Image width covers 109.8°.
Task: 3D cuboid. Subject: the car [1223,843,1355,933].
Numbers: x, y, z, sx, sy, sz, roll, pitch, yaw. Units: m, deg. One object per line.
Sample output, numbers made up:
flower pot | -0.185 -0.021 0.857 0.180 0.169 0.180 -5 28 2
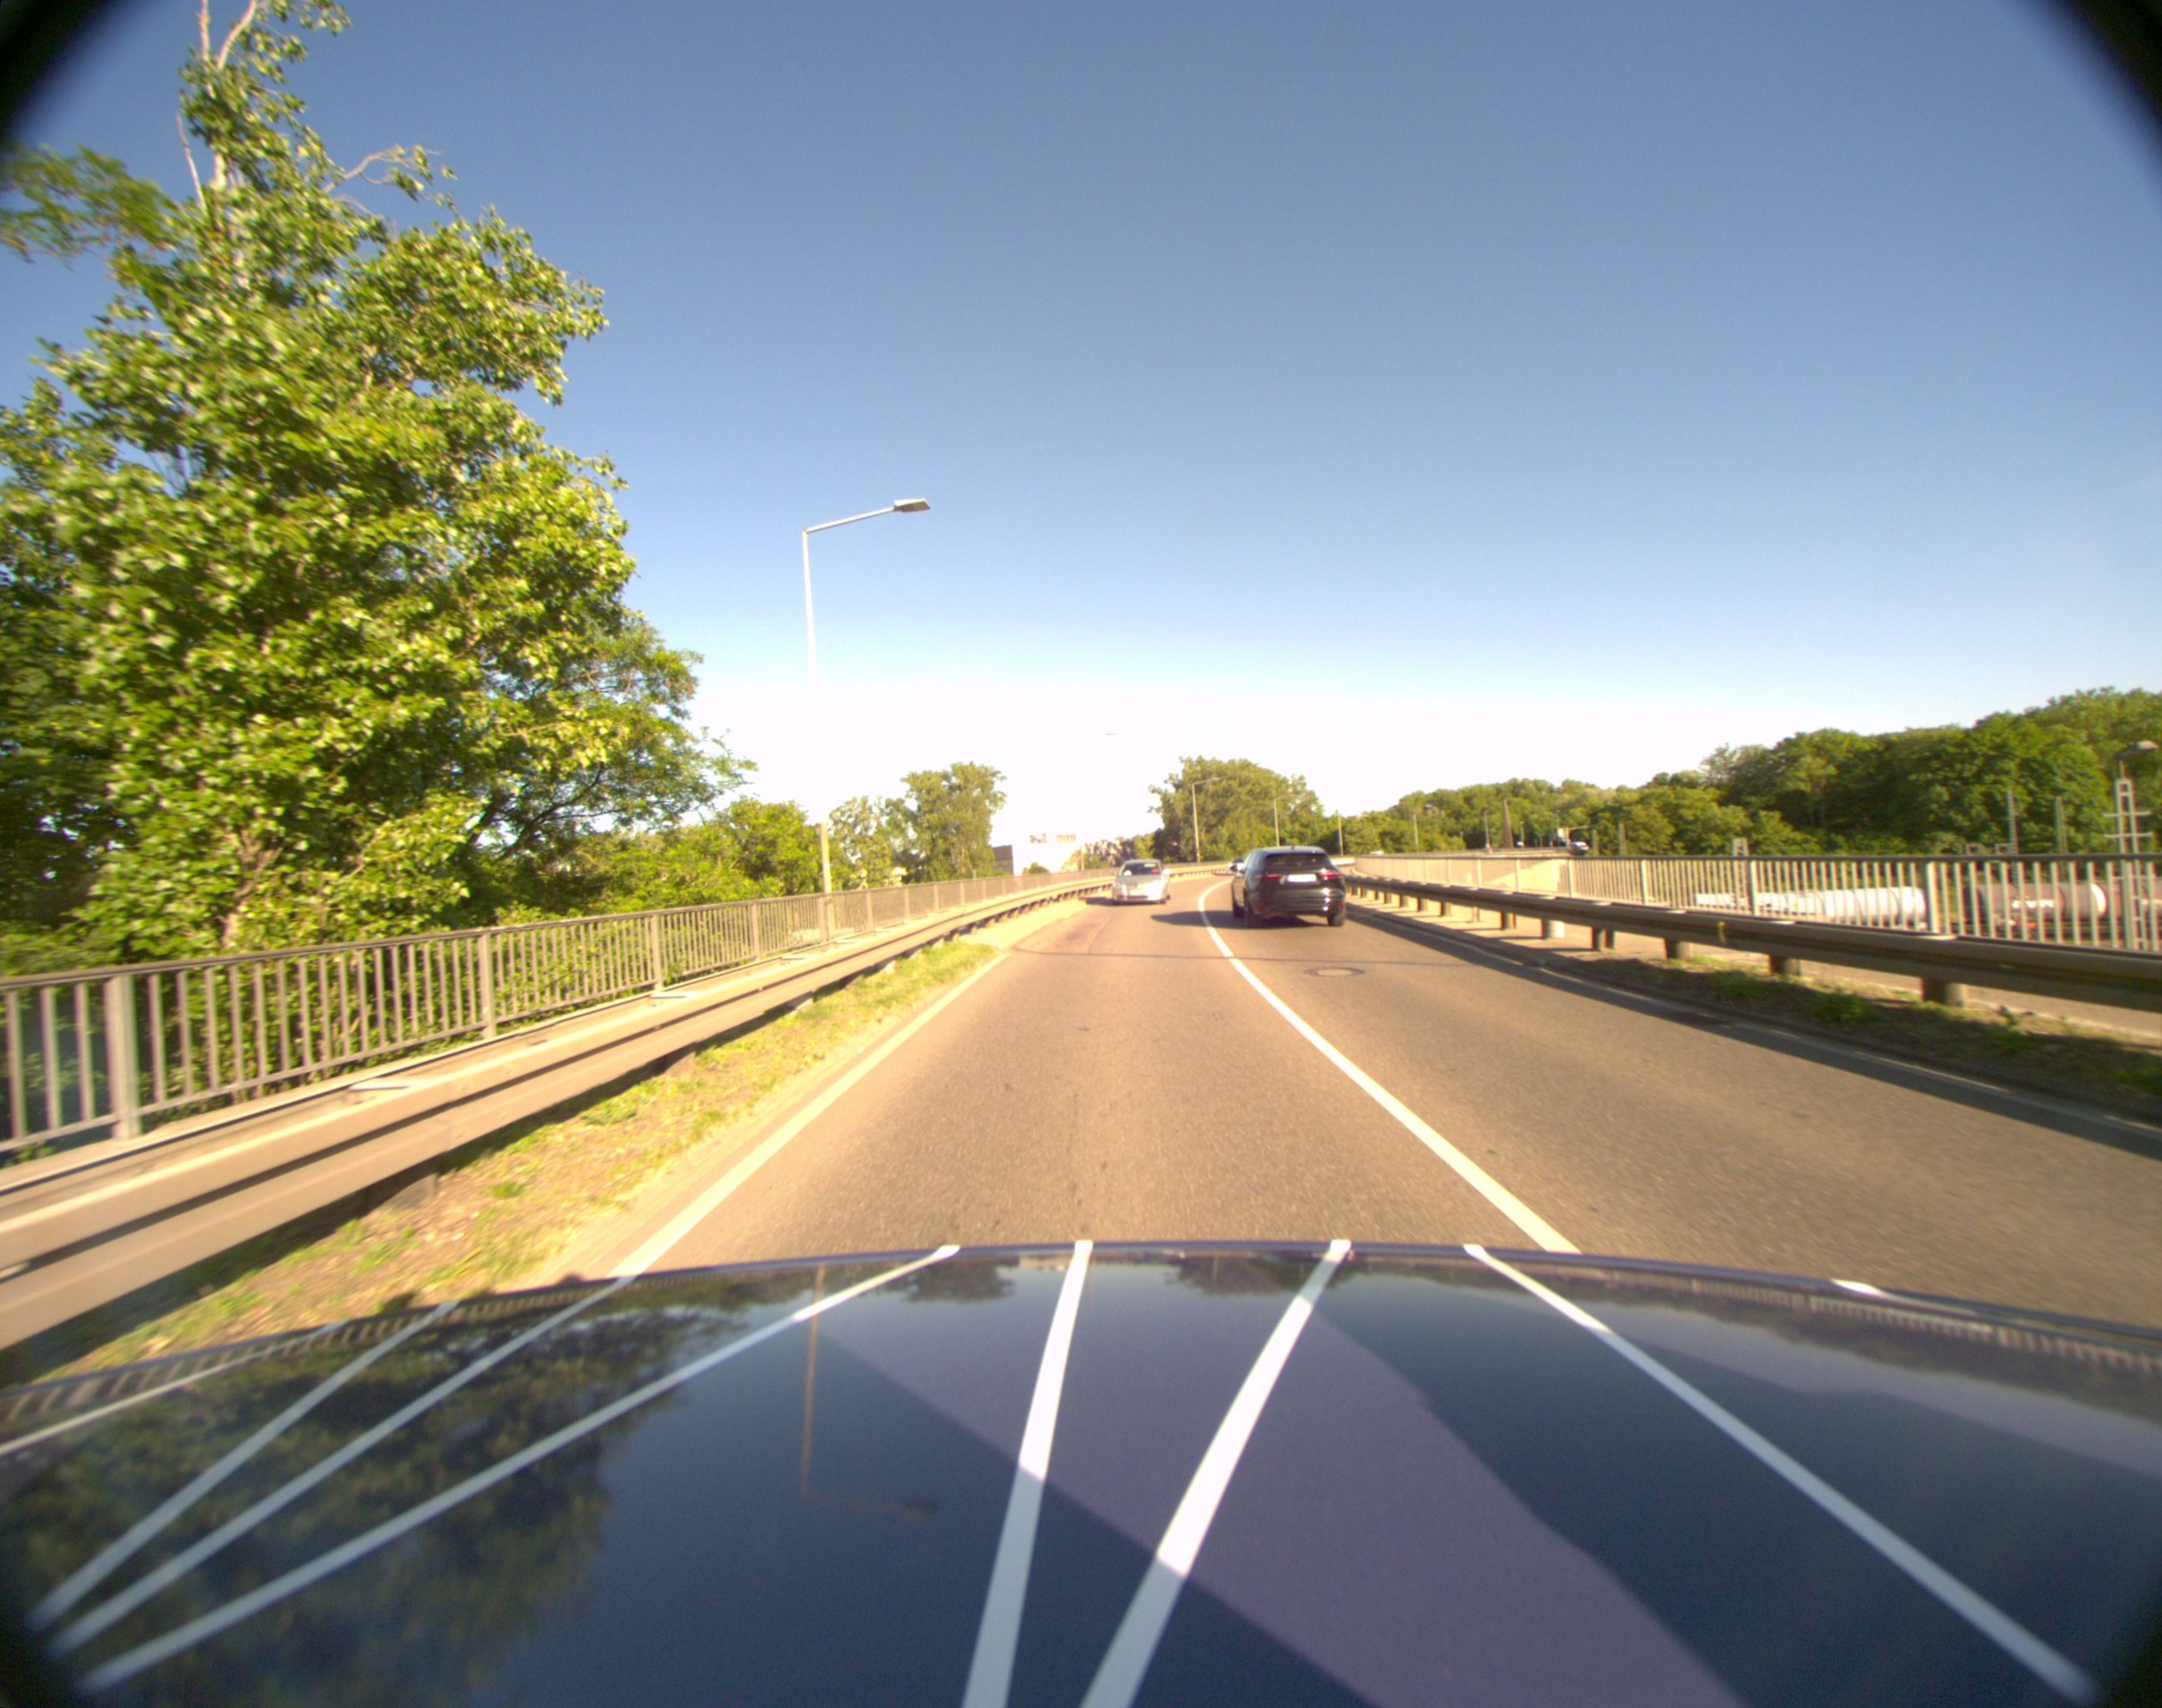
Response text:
car | 4.288 0.637 16.392 1.902 1.633 4.465 -2 0 5

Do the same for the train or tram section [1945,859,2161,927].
train or tram section | 73.743 2.718 53.842 16.272 4.564 3.912 -2 0 26

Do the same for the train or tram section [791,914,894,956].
train or tram section | -32.662 10.902 103.765 15.142 5.153 3.342 -2 0 26

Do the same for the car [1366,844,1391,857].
car | 36.738 -0.394 93.774 1.838 1.510 3.777 -2 0 38

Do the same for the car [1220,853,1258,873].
car | 12.658 0.684 60.815 1.990 1.465 4.137 -2 0 26

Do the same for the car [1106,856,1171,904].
car | 2.025 0.811 25.626 1.763 1.428 4.333 -2 0 9

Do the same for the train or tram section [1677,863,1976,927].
train or tram section | 58.825 3.272 61.063 16.728 4.564 3.912 -2 0 26
